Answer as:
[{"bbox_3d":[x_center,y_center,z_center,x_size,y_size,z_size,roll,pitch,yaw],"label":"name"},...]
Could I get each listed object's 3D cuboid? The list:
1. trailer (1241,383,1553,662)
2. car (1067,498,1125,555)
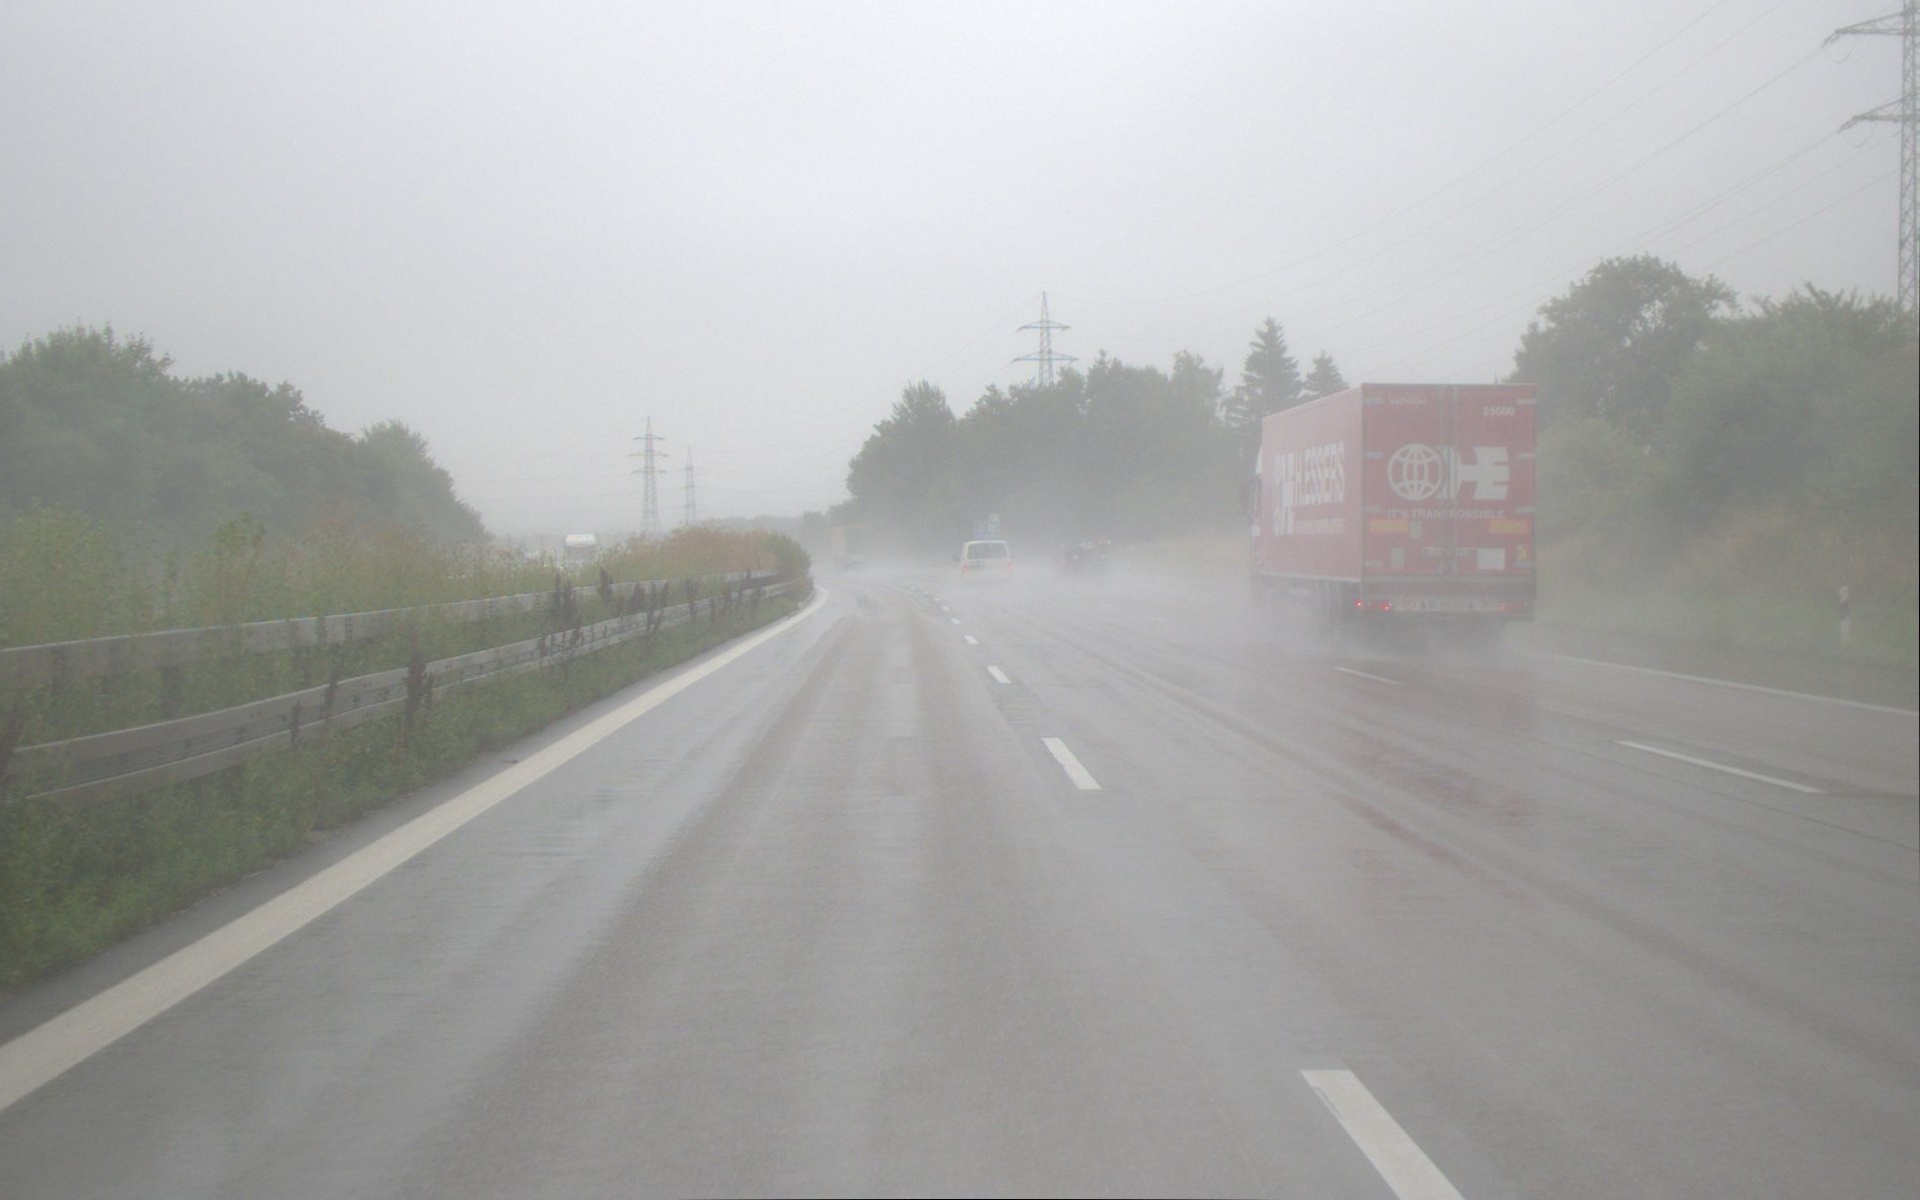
[{"bbox_3d":[6.942,-1.224,57.022,2.620,3.941,13.632,-3,1,-3],"label":"trailer"},{"bbox_3d":[5.320,-2.868,134.919,1.807,2.151,4.001,-2,1,-4],"label":"car"}]
